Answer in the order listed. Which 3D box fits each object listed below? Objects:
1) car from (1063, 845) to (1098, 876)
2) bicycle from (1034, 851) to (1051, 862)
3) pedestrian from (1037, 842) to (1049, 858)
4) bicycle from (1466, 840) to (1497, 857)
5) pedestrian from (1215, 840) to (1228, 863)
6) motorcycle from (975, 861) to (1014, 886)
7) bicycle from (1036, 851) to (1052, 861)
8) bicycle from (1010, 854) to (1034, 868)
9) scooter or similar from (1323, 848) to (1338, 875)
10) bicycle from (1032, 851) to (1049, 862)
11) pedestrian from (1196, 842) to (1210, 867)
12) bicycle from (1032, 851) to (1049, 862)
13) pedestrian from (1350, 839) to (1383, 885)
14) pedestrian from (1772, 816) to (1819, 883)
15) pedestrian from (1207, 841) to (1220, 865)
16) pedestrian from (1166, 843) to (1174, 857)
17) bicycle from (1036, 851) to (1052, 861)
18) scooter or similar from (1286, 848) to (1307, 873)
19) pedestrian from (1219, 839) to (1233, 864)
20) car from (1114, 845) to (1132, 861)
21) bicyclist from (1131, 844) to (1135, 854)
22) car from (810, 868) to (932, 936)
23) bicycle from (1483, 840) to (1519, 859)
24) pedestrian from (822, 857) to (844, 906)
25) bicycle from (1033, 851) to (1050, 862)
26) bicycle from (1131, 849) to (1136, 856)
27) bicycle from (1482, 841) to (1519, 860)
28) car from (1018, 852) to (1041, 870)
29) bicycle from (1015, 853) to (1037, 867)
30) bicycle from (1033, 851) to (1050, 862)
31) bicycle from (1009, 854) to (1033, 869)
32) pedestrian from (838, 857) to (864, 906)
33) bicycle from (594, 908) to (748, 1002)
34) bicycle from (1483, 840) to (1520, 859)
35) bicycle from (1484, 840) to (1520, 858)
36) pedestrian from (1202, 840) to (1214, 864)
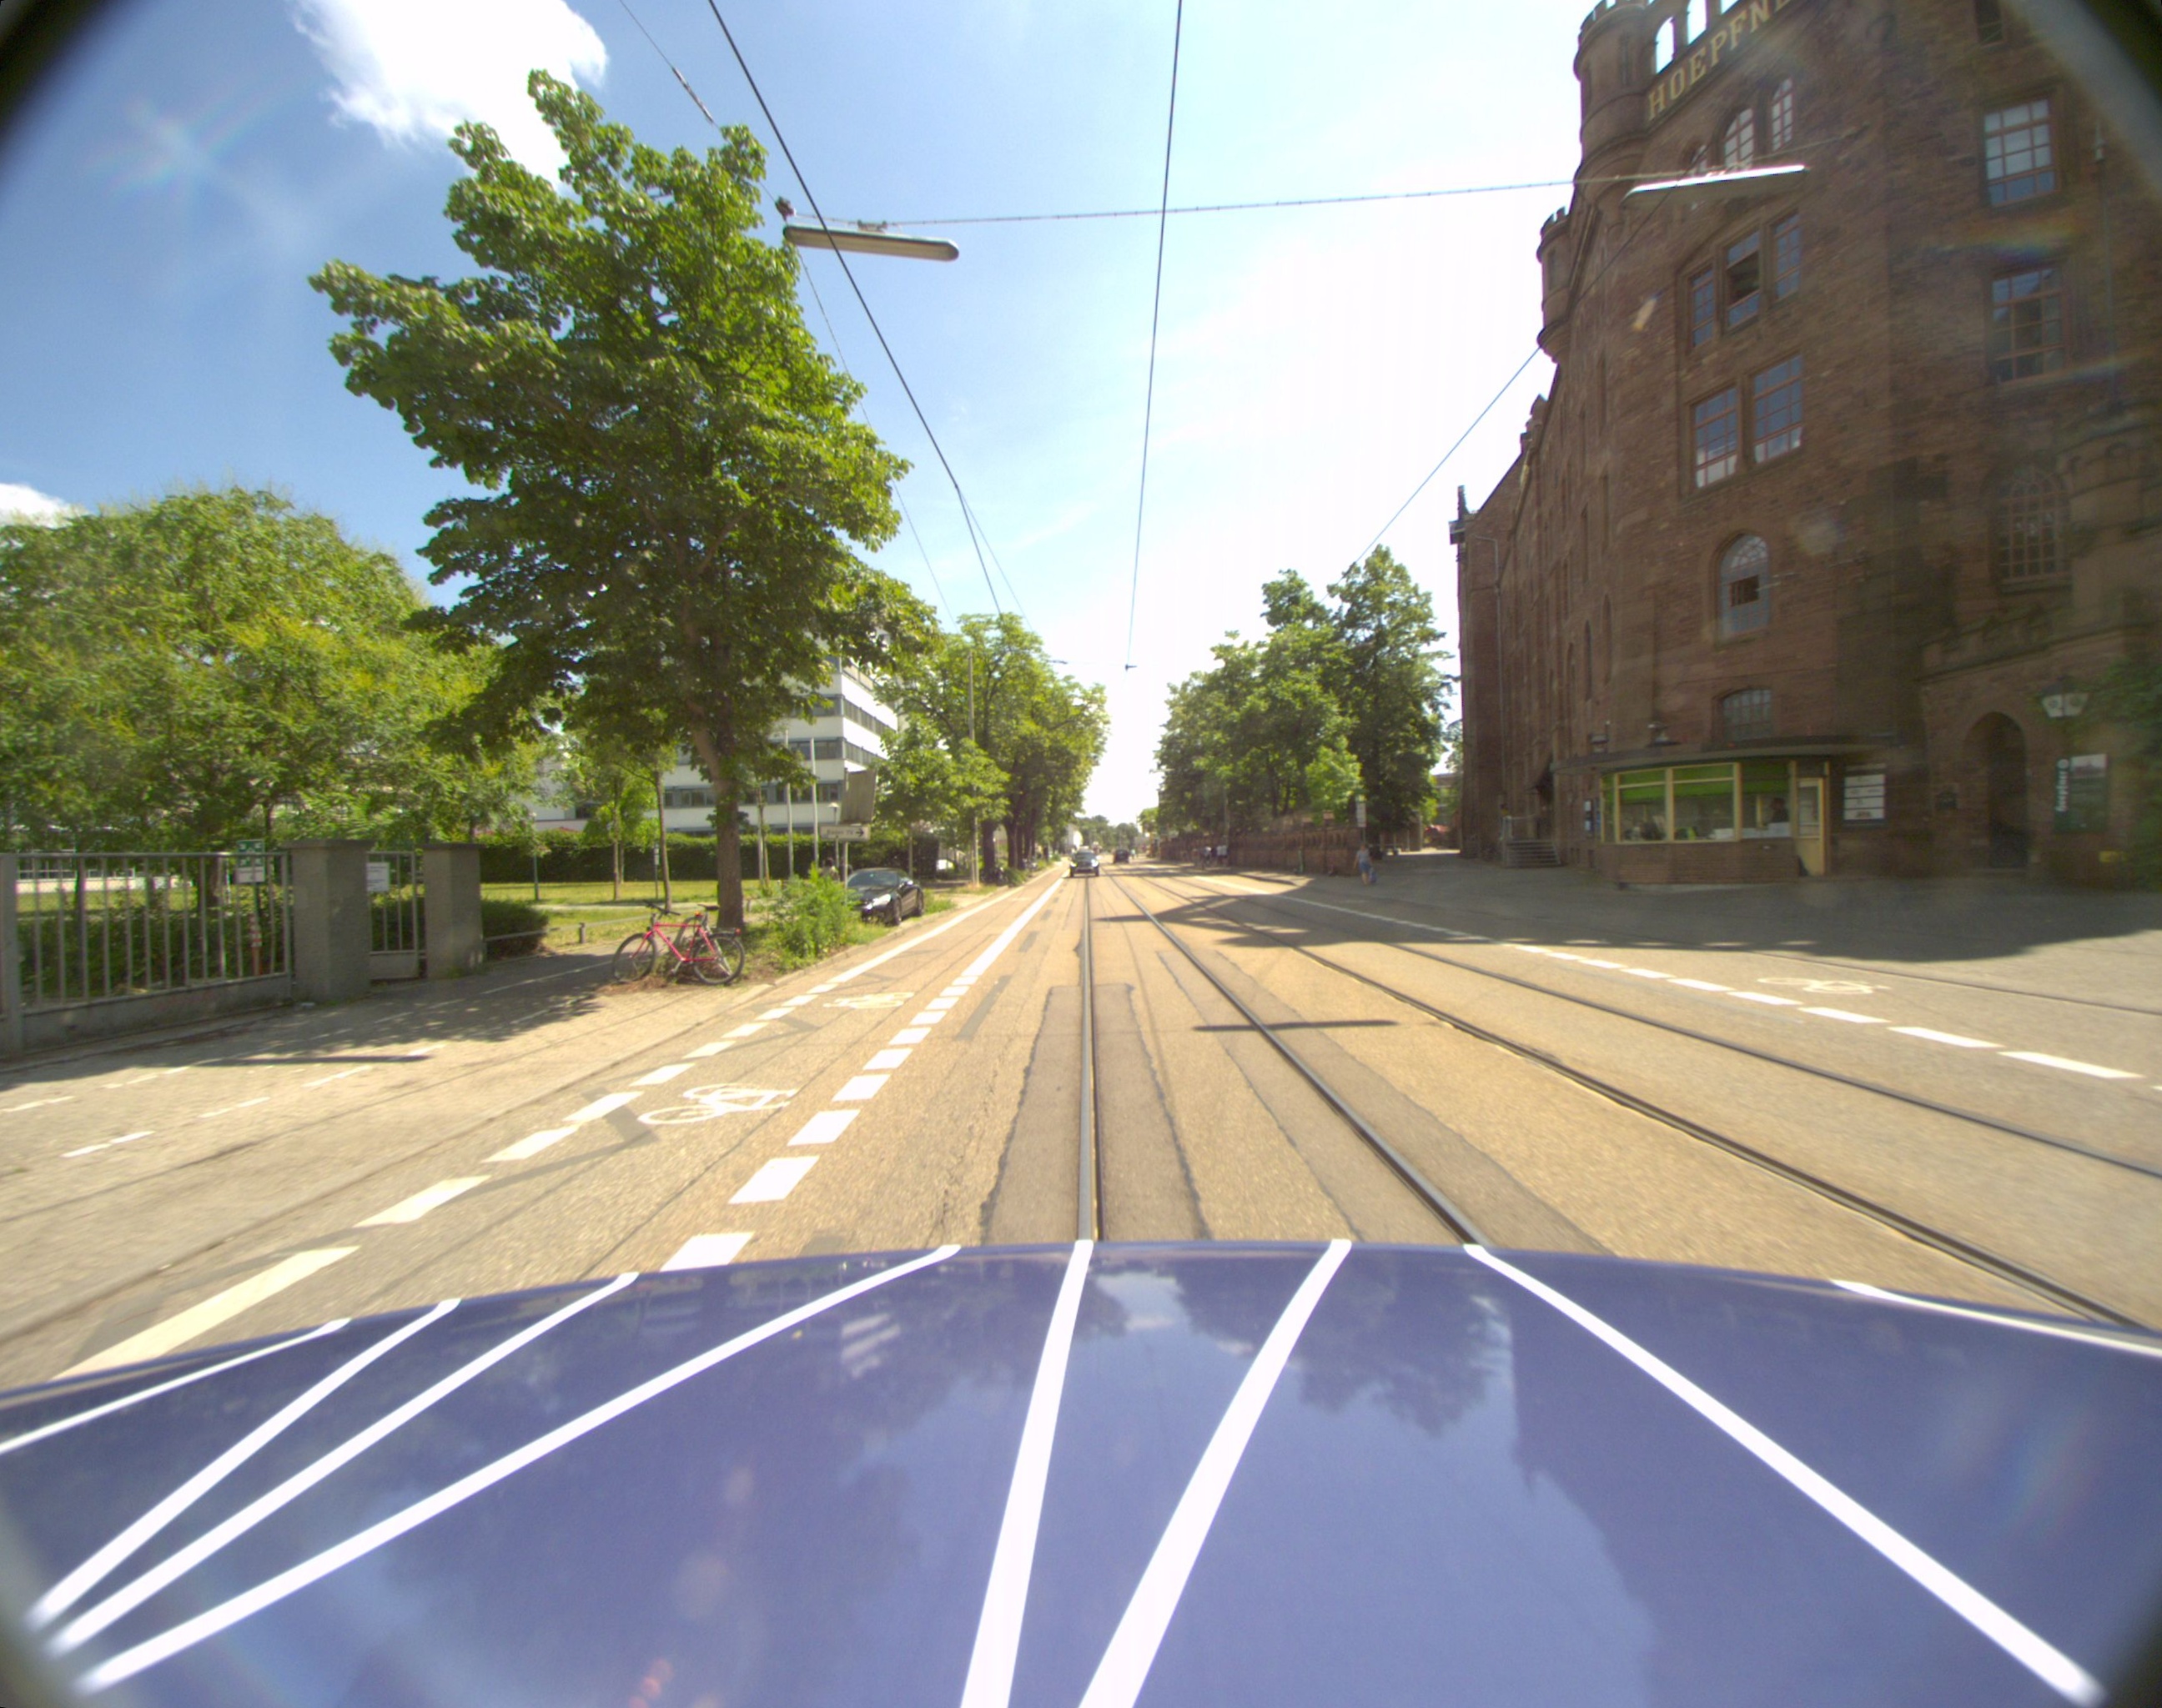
[{"bbox_3d":[0.003,0.368,47.607,1.998,1.732,4.226,-3,1,0],"label":"car"},{"bbox_3d":[-4.336,0.285,85.270,1.813,1.105,0.569,-4,1,-3],"label":"bicycle"},{"bbox_3d":[-4.560,-0.460,90.954,0.986,1.822,0.786,-3,1,-43],"label":"pedestrian"},{"bbox_3d":[25.151,-0.343,47.669,1.784,0.988,0.492,-3,1,-13],"label":"bicycle"},{"bbox_3d":[10.854,-0.206,58.726,0.679,1.766,0.919,-5,1,0],"label":"pedestrian"},{"bbox_3d":[-4.334,0.975,37.961,2.056,1.206,0.614,-1,3,40],"label":"motorcycle"},{"bbox_3d":[-4.463,0.213,92.038,1.819,1.158,0.710,-2,1,-7],"label":"bicycle"},{"bbox_3d":[-4.597,0.551,59.014,1.813,1.105,0.395,-1,1,-3],"label":"bicycle"},{"bbox_3d":[10.865,0.308,33.072,0.328,1.120,1.225,-3,1,29],"label":"scooter or similar"},{"bbox_3d":[-4.458,0.315,83.884,1.846,1.105,0.569,-4,1,-3],"label":"bicycle"},{"bbox_3d":[9.146,0.011,56.982,0.723,1.781,0.919,-5,1,0],"label":"pedestrian"},{"bbox_3d":[-4.478,0.308,84.643,1.813,1.105,0.569,-4,1,-3],"label":"bicycle"},{"bbox_3d":[10.563,0.291,28.123,0.801,1.580,0.919,-5,3,0],"label":"pedestrian"},{"bbox_3d":[15.367,-0.091,16.352,0.422,1.393,0.583,-3,1,1],"label":"pedestrian"},{"bbox_3d":[9.889,-0.103,56.545,0.679,1.738,0.919,-5,1,0],"label":"pedestrian"},{"bbox_3d":[11.276,-0.556,96.534,0.750,1.738,0.919,-4,1,0],"label":"pedestrian"},{"bbox_3d":[-4.380,0.222,90.732,1.819,1.158,0.710,-2,1,-7],"label":"bicycle"},{"bbox_3d":[10.368,0.310,36.534,0.348,1.120,1.227,-2,3,44],"label":"scooter or similar"},{"bbox_3d":[10.736,-0.175,56.262,0.754,1.766,0.919,-5,1,0],"label":"pedestrian"},{"bbox_3d":[5.081,-0.144,92.816,1.909,1.778,4.255,-2,1,0],"label":"car"},{"bbox_3d":[8.544,-0.770,124.446,0.665,1.616,0.919,0,1,0],"label":"bicyclist"},{"bbox_3d":[-4.900,1.064,18.294,1.756,1.263,3.833,-3,1,1],"label":"car"},{"bbox_3d":[24.405,-0.269,44.136,1.779,0.988,0.493,-3,1,35],"label":"bicycle"},{"bbox_3d":[-8.054,0.897,24.660,0.514,1.564,0.544,0,1,1],"label":"pedestrian"},{"bbox_3d":[-4.512,0.284,87.157,1.813,1.105,0.569,-4,1,-3],"label":"bicycle"},{"bbox_3d":[8.542,-0.317,124.437,0.661,1.156,1.895,0,1,0],"label":"bicycle"},{"bbox_3d":[23.769,-0.202,43.092,1.779,0.988,0.493,-3,1,35],"label":"bicycle"},{"bbox_3d":[-4.549,0.610,67.661,1.681,1.458,4.633,-1,1,0],"label":"car"},{"bbox_3d":[-4.489,0.512,62.215,1.813,1.105,0.514,-1,1,-3],"label":"bicycle"},{"bbox_3d":[-4.462,0.292,85.892,1.813,1.105,0.569,-4,1,-3],"label":"bicycle"},{"bbox_3d":[-4.588,0.554,58.584,1.812,1.105,0.449,-1,1,-2],"label":"bicycle"},{"bbox_3d":[-7.470,0.883,24.668,0.620,1.564,0.610,0,1,1],"label":"pedestrian"},{"bbox_3d":[-5.153,1.256,9.597,1.589,1.054,0.562,-2,1,-1],"label":"bicycle"},{"bbox_3d":[24.120,-0.247,43.596,1.779,0.988,0.493,-3,1,35],"label":"bicycle"},{"bbox_3d":[24.732,-0.281,44.639,1.779,0.988,0.493,-3,1,35],"label":"bicycle"},{"bbox_3d":[9.780,-0.155,58.556,0.679,1.780,0.919,-5,1,0],"label":"pedestrian"}]
